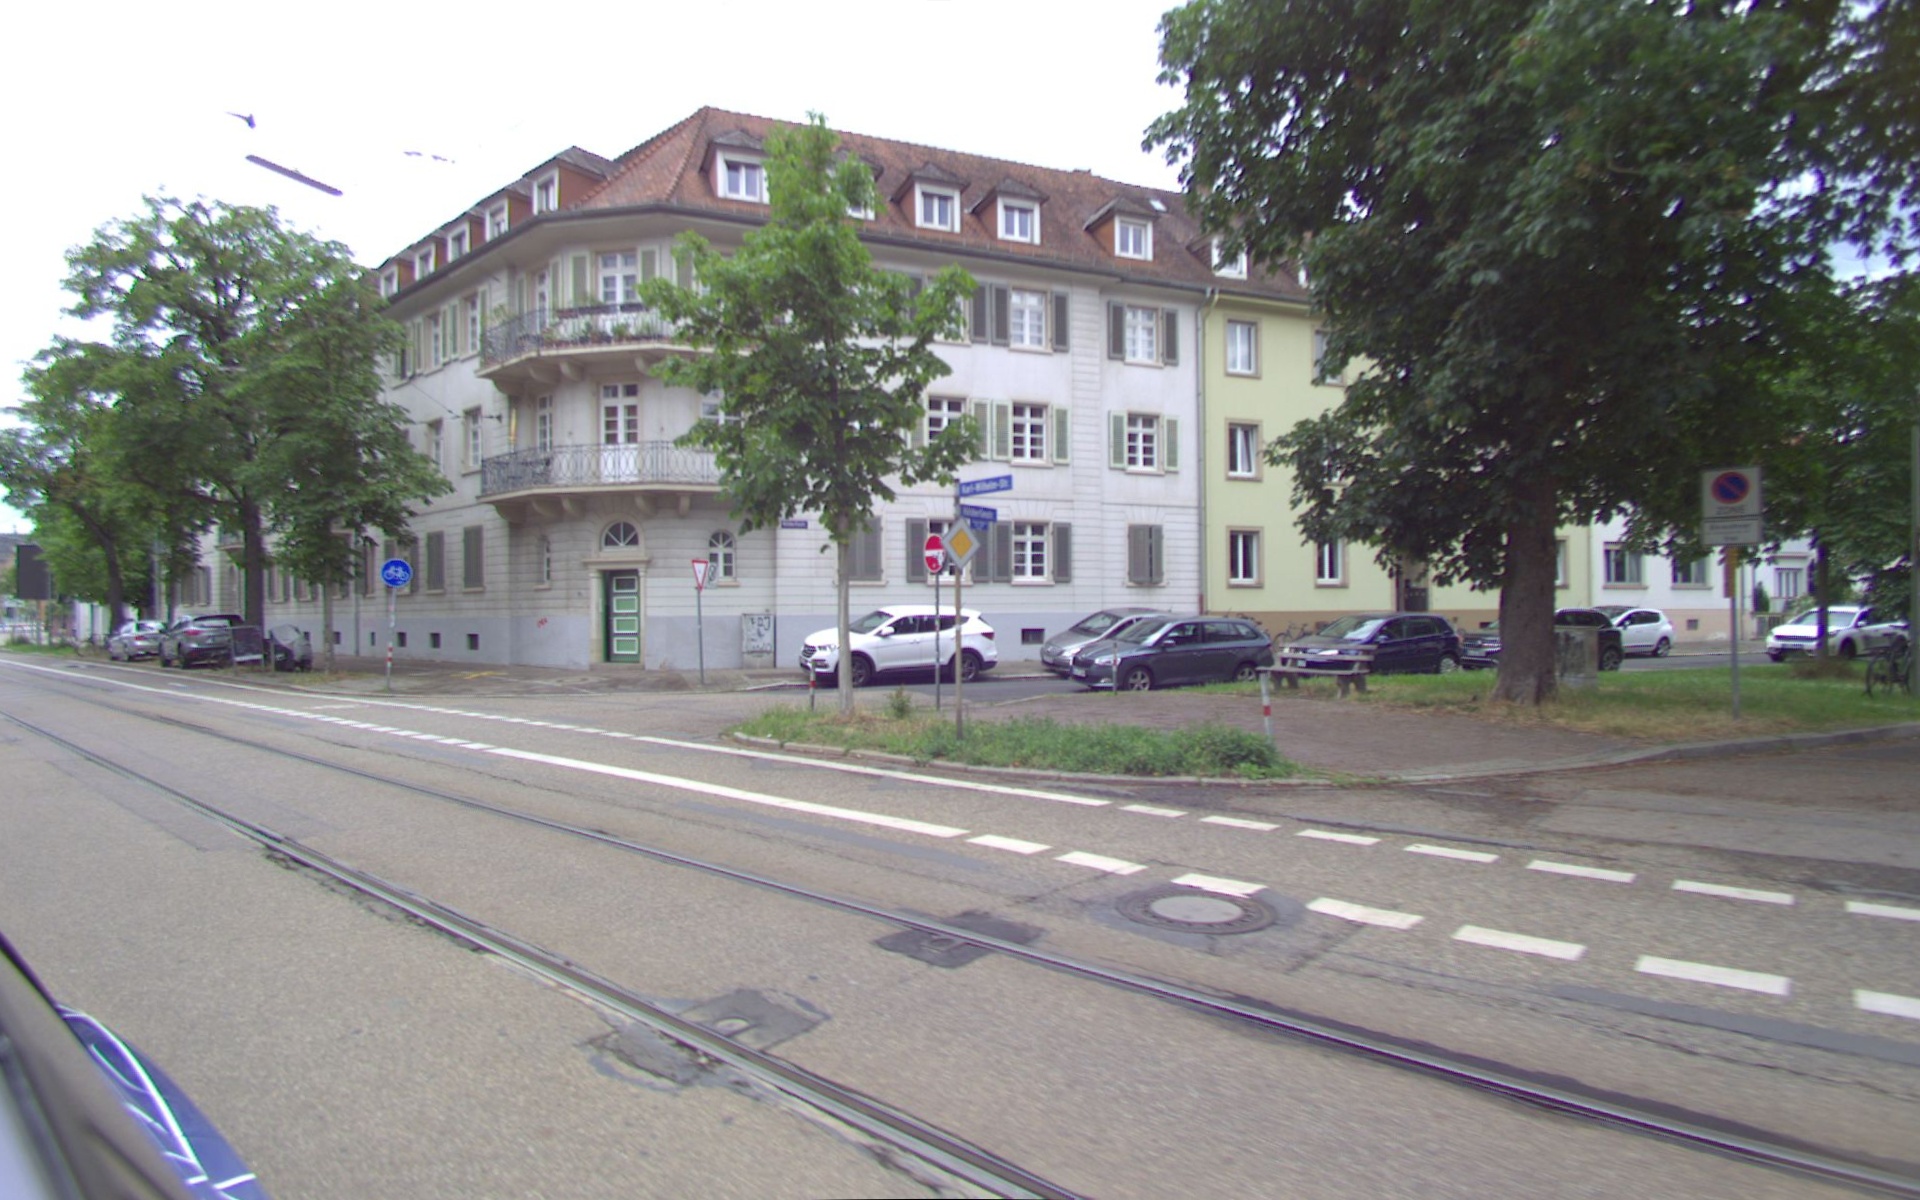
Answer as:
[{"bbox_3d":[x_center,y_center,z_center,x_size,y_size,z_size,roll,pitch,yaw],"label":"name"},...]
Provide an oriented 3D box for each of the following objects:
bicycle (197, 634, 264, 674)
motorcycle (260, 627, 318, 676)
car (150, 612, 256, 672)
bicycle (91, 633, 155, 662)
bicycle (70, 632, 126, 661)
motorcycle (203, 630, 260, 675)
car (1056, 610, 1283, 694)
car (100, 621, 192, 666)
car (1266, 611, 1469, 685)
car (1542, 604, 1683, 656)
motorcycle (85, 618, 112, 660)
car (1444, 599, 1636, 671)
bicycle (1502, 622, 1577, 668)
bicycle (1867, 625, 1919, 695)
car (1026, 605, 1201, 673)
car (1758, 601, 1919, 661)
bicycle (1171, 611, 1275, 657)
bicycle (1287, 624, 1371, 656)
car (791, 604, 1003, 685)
[{"bbox_3d":[-20.646,1.511,28.636,0.930,1.012,1.361,-2,2,45],"label":"bicycle"},{"bbox_3d":[-17.886,1.354,26.948,2.137,1.267,0.535,-1,-1,35],"label":"motorcycle"},{"bbox_3d":[-23.731,1.275,31.675,4.292,1.673,1.818,-2,1,42],"label":"car"},{"bbox_3d":[-33.048,1.863,39.980,0.563,1.035,1.877,-2,0,36],"label":"bicycle"},{"bbox_3d":[-37.040,1.998,43.501,1.718,1.137,0.519,-3,0,-31],"label":"bicycle"},{"bbox_3d":[-21.191,1.507,29.441,1.270,1.231,0.548,-2,0,-43],"label":"motorcycle"},{"bbox_3d":[4.042,0.943,19.572,4.000,1.421,1.667,-1,0,-20],"label":"car"},{"bbox_3d":[-29.803,1.565,37.007,4.610,1.477,1.793,-2,0,40],"label":"car"},{"bbox_3d":[8.687,0.966,21.574,3.940,1.356,1.671,-1,0,-23],"label":"car"},{"bbox_3d":[20.752,0.920,32.188,4.080,1.563,1.778,0,0,-24],"label":"car"},{"bbox_3d":[-35.595,1.594,41.790,0.822,1.655,2.483,0,-1,-41],"label":"motorcycle"},{"bbox_3d":[13.517,0.761,23.575,4.117,1.491,1.708,-1,0,-23],"label":"car"},{"bbox_3d":[11.743,0.899,20.509,1.371,0.903,0.582,0,-1,-22],"label":"bicycle"},{"bbox_3d":[13.815,0.838,14.534,1.645,0.932,0.450,-1,2,-21],"label":"bicycle"},{"bbox_3d":[3.857,0.934,25.381,3.978,1.524,1.744,-1,0,-23],"label":"car"},{"bbox_3d":[24.396,0.825,28.015,4.116,1.564,1.808,0,-2,-23],"label":"car"},{"bbox_3d":[7.843,1.001,30.175,3.072,1.238,0.886,-1,2,-23],"label":"bicycle"},{"bbox_3d":[11.701,1.257,32.093,2.620,0.908,0.822,0,2,-23],"label":"bicycle"},{"bbox_3d":[-1.456,0.962,23.227,4.438,1.675,1.945,0,-1,-24],"label":"car"}]
